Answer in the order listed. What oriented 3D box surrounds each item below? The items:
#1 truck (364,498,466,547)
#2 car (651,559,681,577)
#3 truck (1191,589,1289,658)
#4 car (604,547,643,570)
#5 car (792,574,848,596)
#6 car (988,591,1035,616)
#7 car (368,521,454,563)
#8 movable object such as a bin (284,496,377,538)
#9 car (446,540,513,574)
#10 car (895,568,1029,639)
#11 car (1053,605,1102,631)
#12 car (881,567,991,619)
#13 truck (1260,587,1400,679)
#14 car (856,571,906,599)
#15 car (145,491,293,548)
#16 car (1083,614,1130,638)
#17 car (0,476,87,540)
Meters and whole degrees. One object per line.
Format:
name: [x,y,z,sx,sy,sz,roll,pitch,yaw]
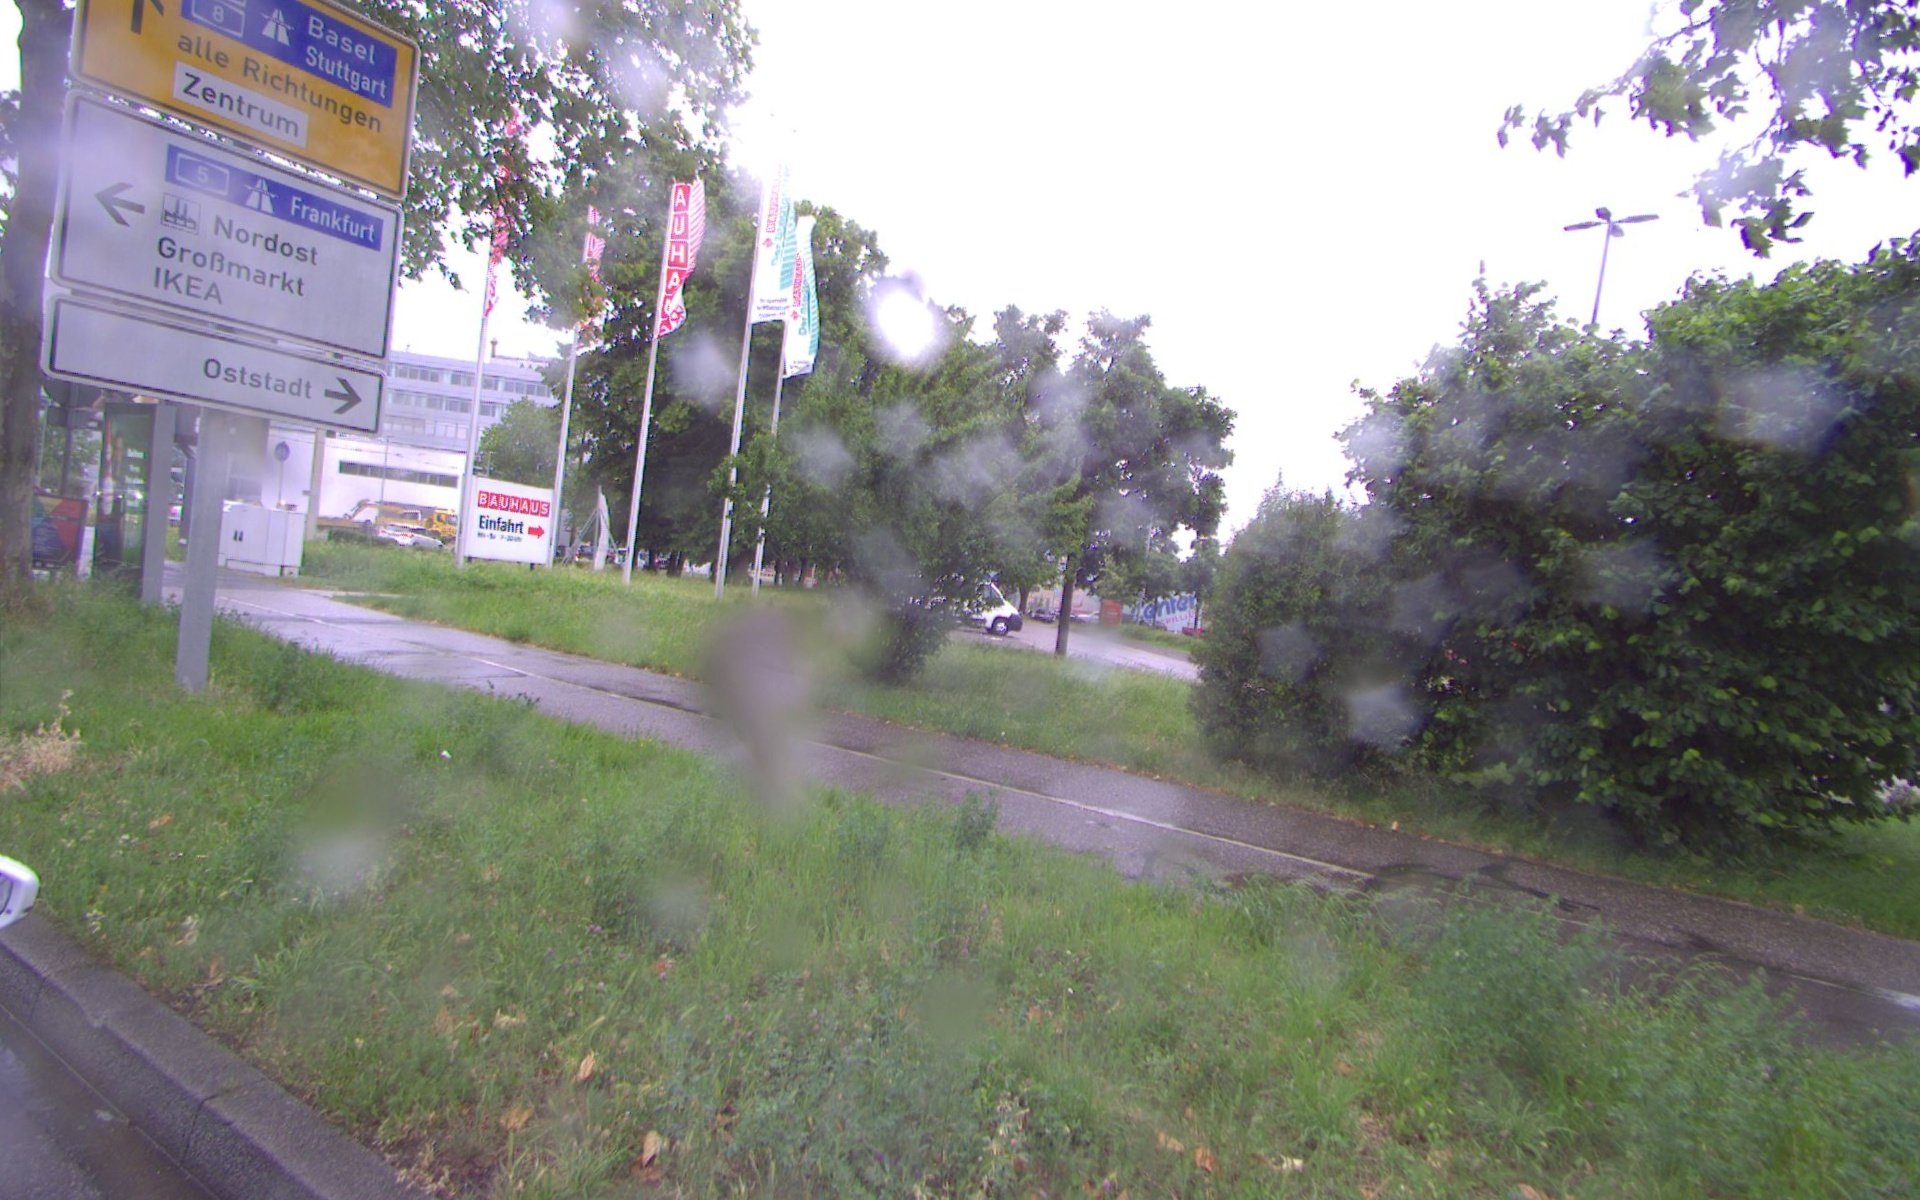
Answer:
truck: [-52.668,-7.447,97.333,7.747,3.552,3.325,7,1,-4]
car: [-30.974,-3.363,106.047,1.892,1.606,4.623,6,0,-4]
truck: [16.529,1.326,60.289,2.507,3.511,9.397,8,0,-2]
car: [-29.126,-3.572,87.213,1.892,1.606,4.623,6,0,-4]
car: [-15.409,-1.600,111.068,5.853,1.754,2.276,6,1,-3]
car: [5.411,0.342,106.608,4.614,2.039,1.999,7,1,-1]
car: [-27.678,-2.887,50.887,1.892,1.606,4.623,6,0,-3]
movable object such as a bin: [-60.583,-7.932,97.009,6.601,3.034,3.324,7,1,-4]
car: [-28.401,-2.502,59.653,1.893,1.606,4.622,6,0,-4]
car: [0.034,0.127,40.918,5.015,2.232,2.188,7,1,-9]
car: [11.865,1.828,101.817,4.612,2.038,2.001,7,0,3]
car: [-1.384,-0.412,57.643,5.955,2.232,2.190,7,1,-2]
truck: [16.724,1.335,46.211,2.508,3.513,8.008,8,1,-4]
car: [-7.850,-1.459,100.592,4.670,2.241,1.964,6,1,-2]
car: [-27.215,-2.915,37.207,1.892,1.509,4.827,6,0,-2]
car: [15.576,2.781,107.421,4.612,2.038,2.001,7,0,3]
car: [-26.357,-2.641,27.434,1.647,1.508,3.817,7,-1,0]
